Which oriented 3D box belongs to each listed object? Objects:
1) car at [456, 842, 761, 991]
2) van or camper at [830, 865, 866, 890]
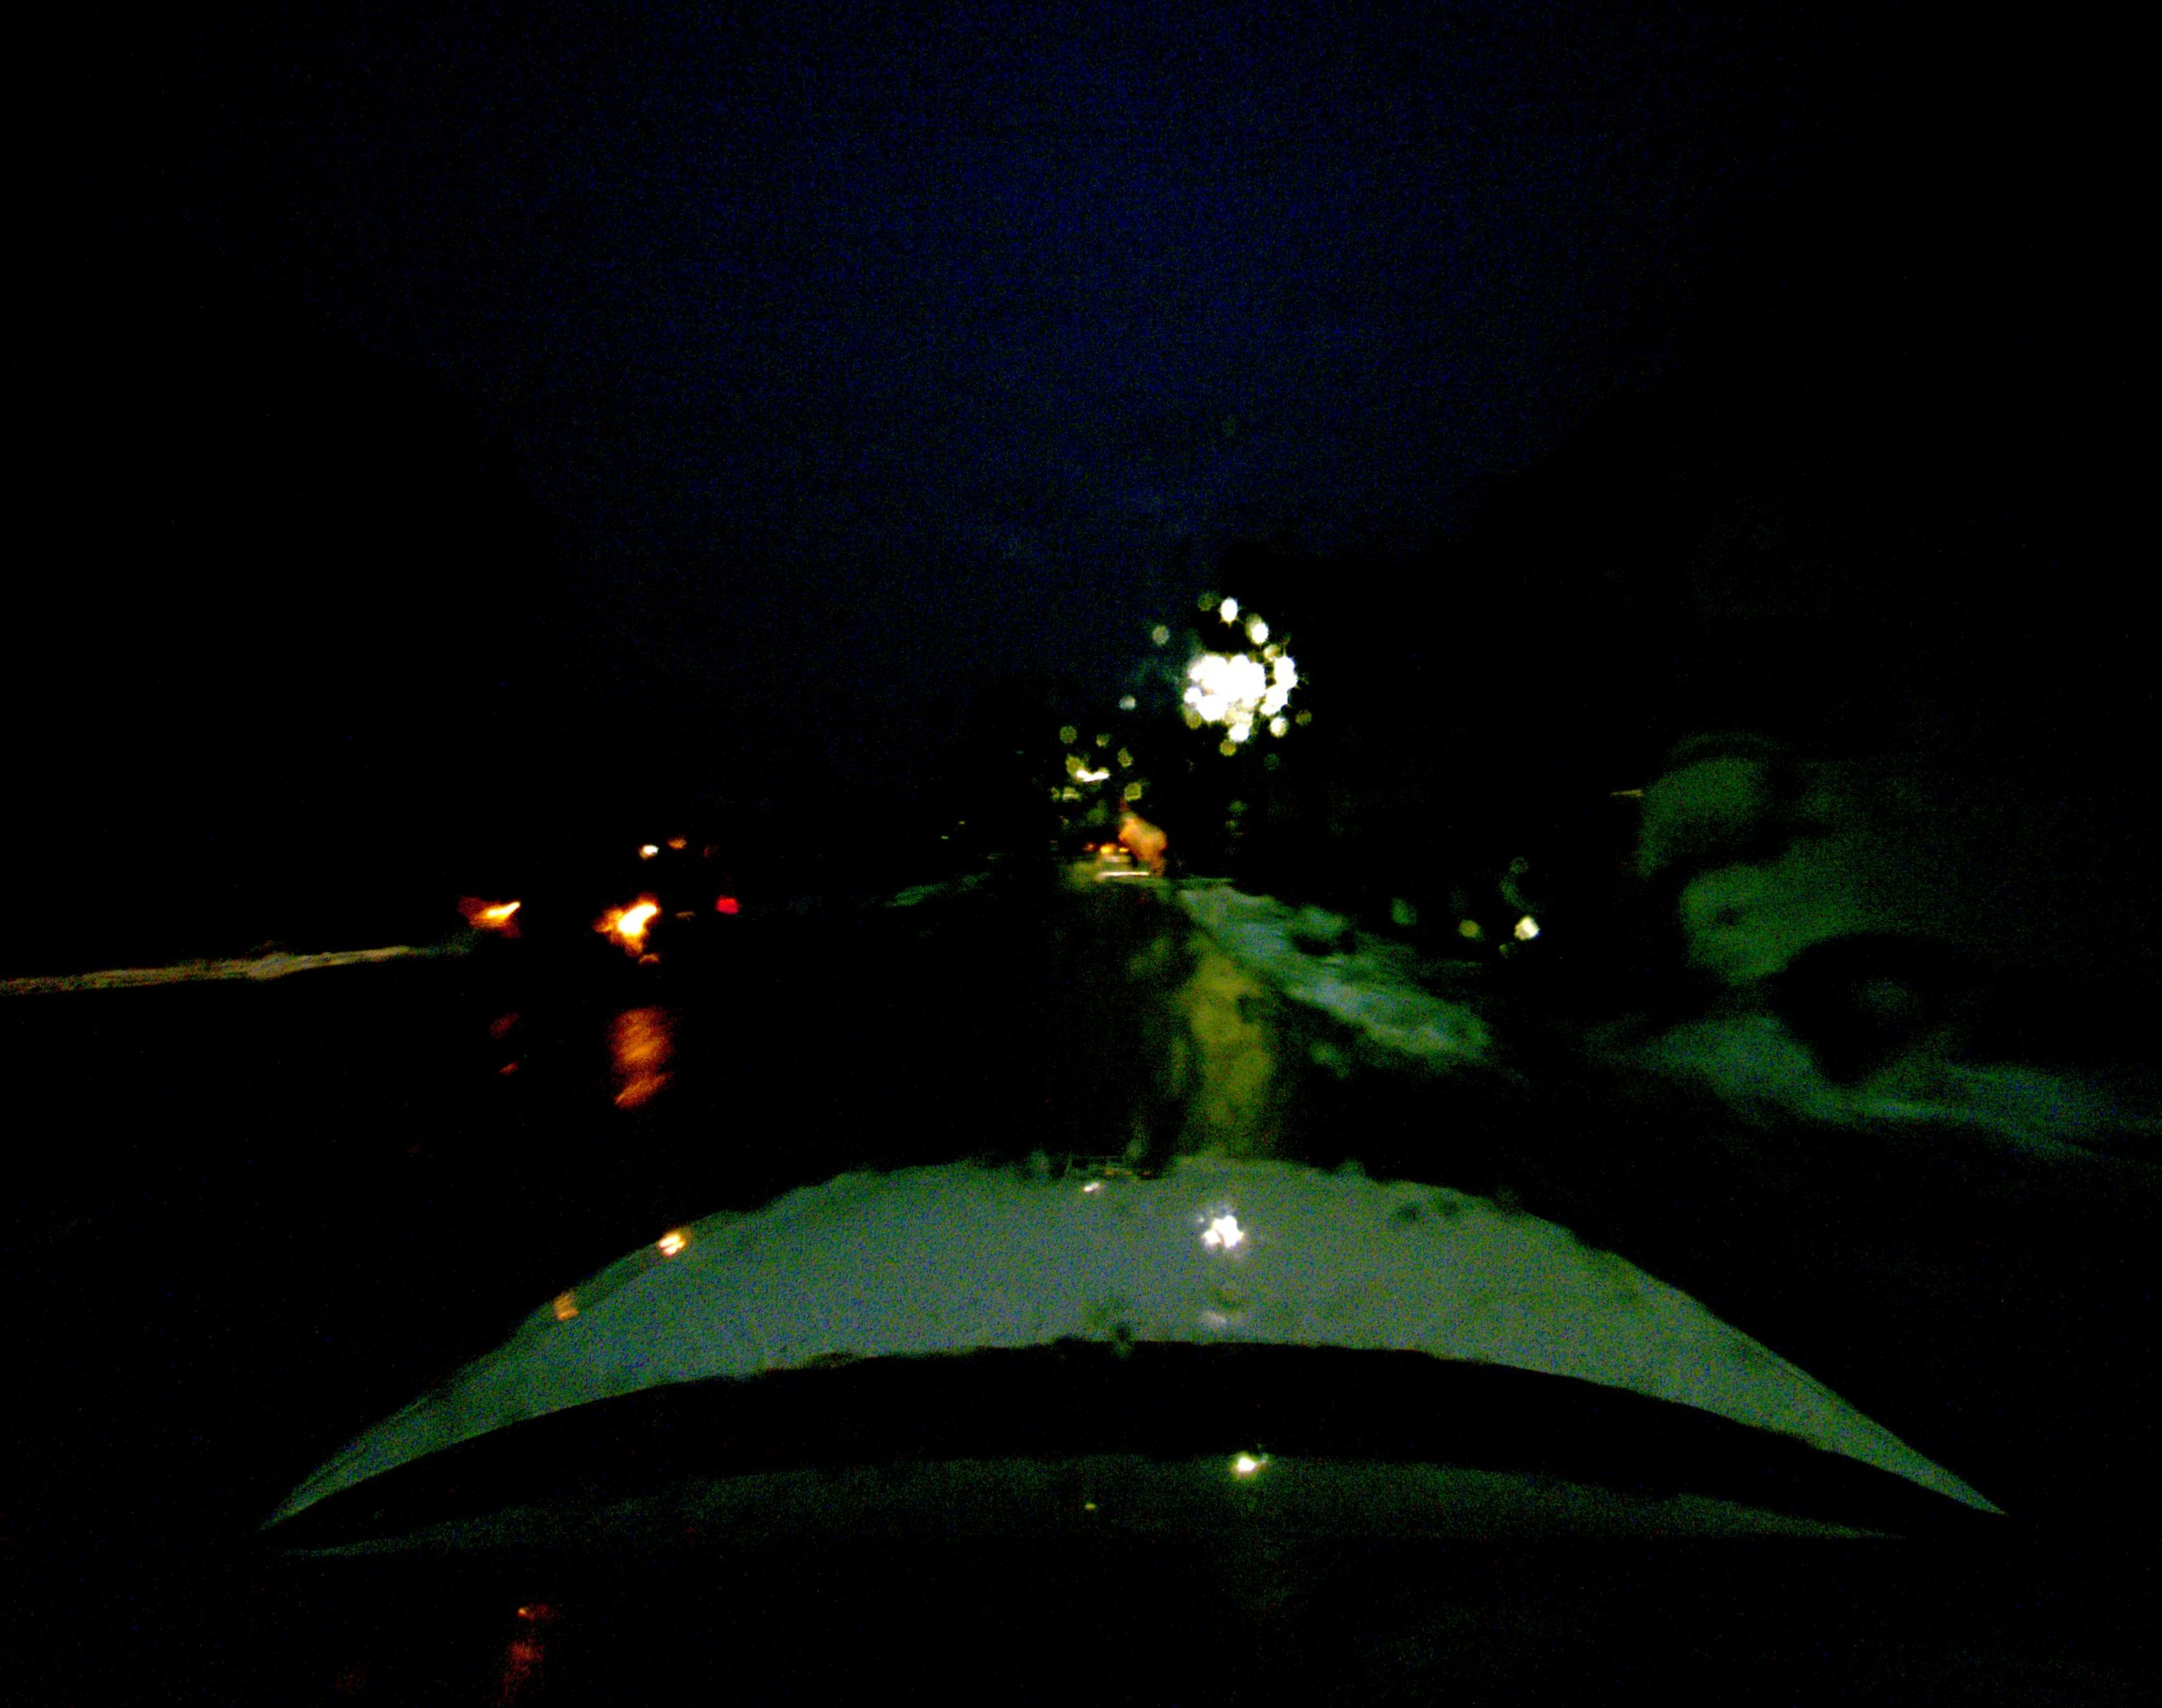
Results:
[{"bbox_3d":[-6.545,0.824,11.335,3.535,1.797,1.838,-2,-1,22],"label":"car"},{"bbox_3d":[-10.967,1.146,38.239,1.288,1.102,3.248,1,-3,-22],"label":"van or camper"}]
